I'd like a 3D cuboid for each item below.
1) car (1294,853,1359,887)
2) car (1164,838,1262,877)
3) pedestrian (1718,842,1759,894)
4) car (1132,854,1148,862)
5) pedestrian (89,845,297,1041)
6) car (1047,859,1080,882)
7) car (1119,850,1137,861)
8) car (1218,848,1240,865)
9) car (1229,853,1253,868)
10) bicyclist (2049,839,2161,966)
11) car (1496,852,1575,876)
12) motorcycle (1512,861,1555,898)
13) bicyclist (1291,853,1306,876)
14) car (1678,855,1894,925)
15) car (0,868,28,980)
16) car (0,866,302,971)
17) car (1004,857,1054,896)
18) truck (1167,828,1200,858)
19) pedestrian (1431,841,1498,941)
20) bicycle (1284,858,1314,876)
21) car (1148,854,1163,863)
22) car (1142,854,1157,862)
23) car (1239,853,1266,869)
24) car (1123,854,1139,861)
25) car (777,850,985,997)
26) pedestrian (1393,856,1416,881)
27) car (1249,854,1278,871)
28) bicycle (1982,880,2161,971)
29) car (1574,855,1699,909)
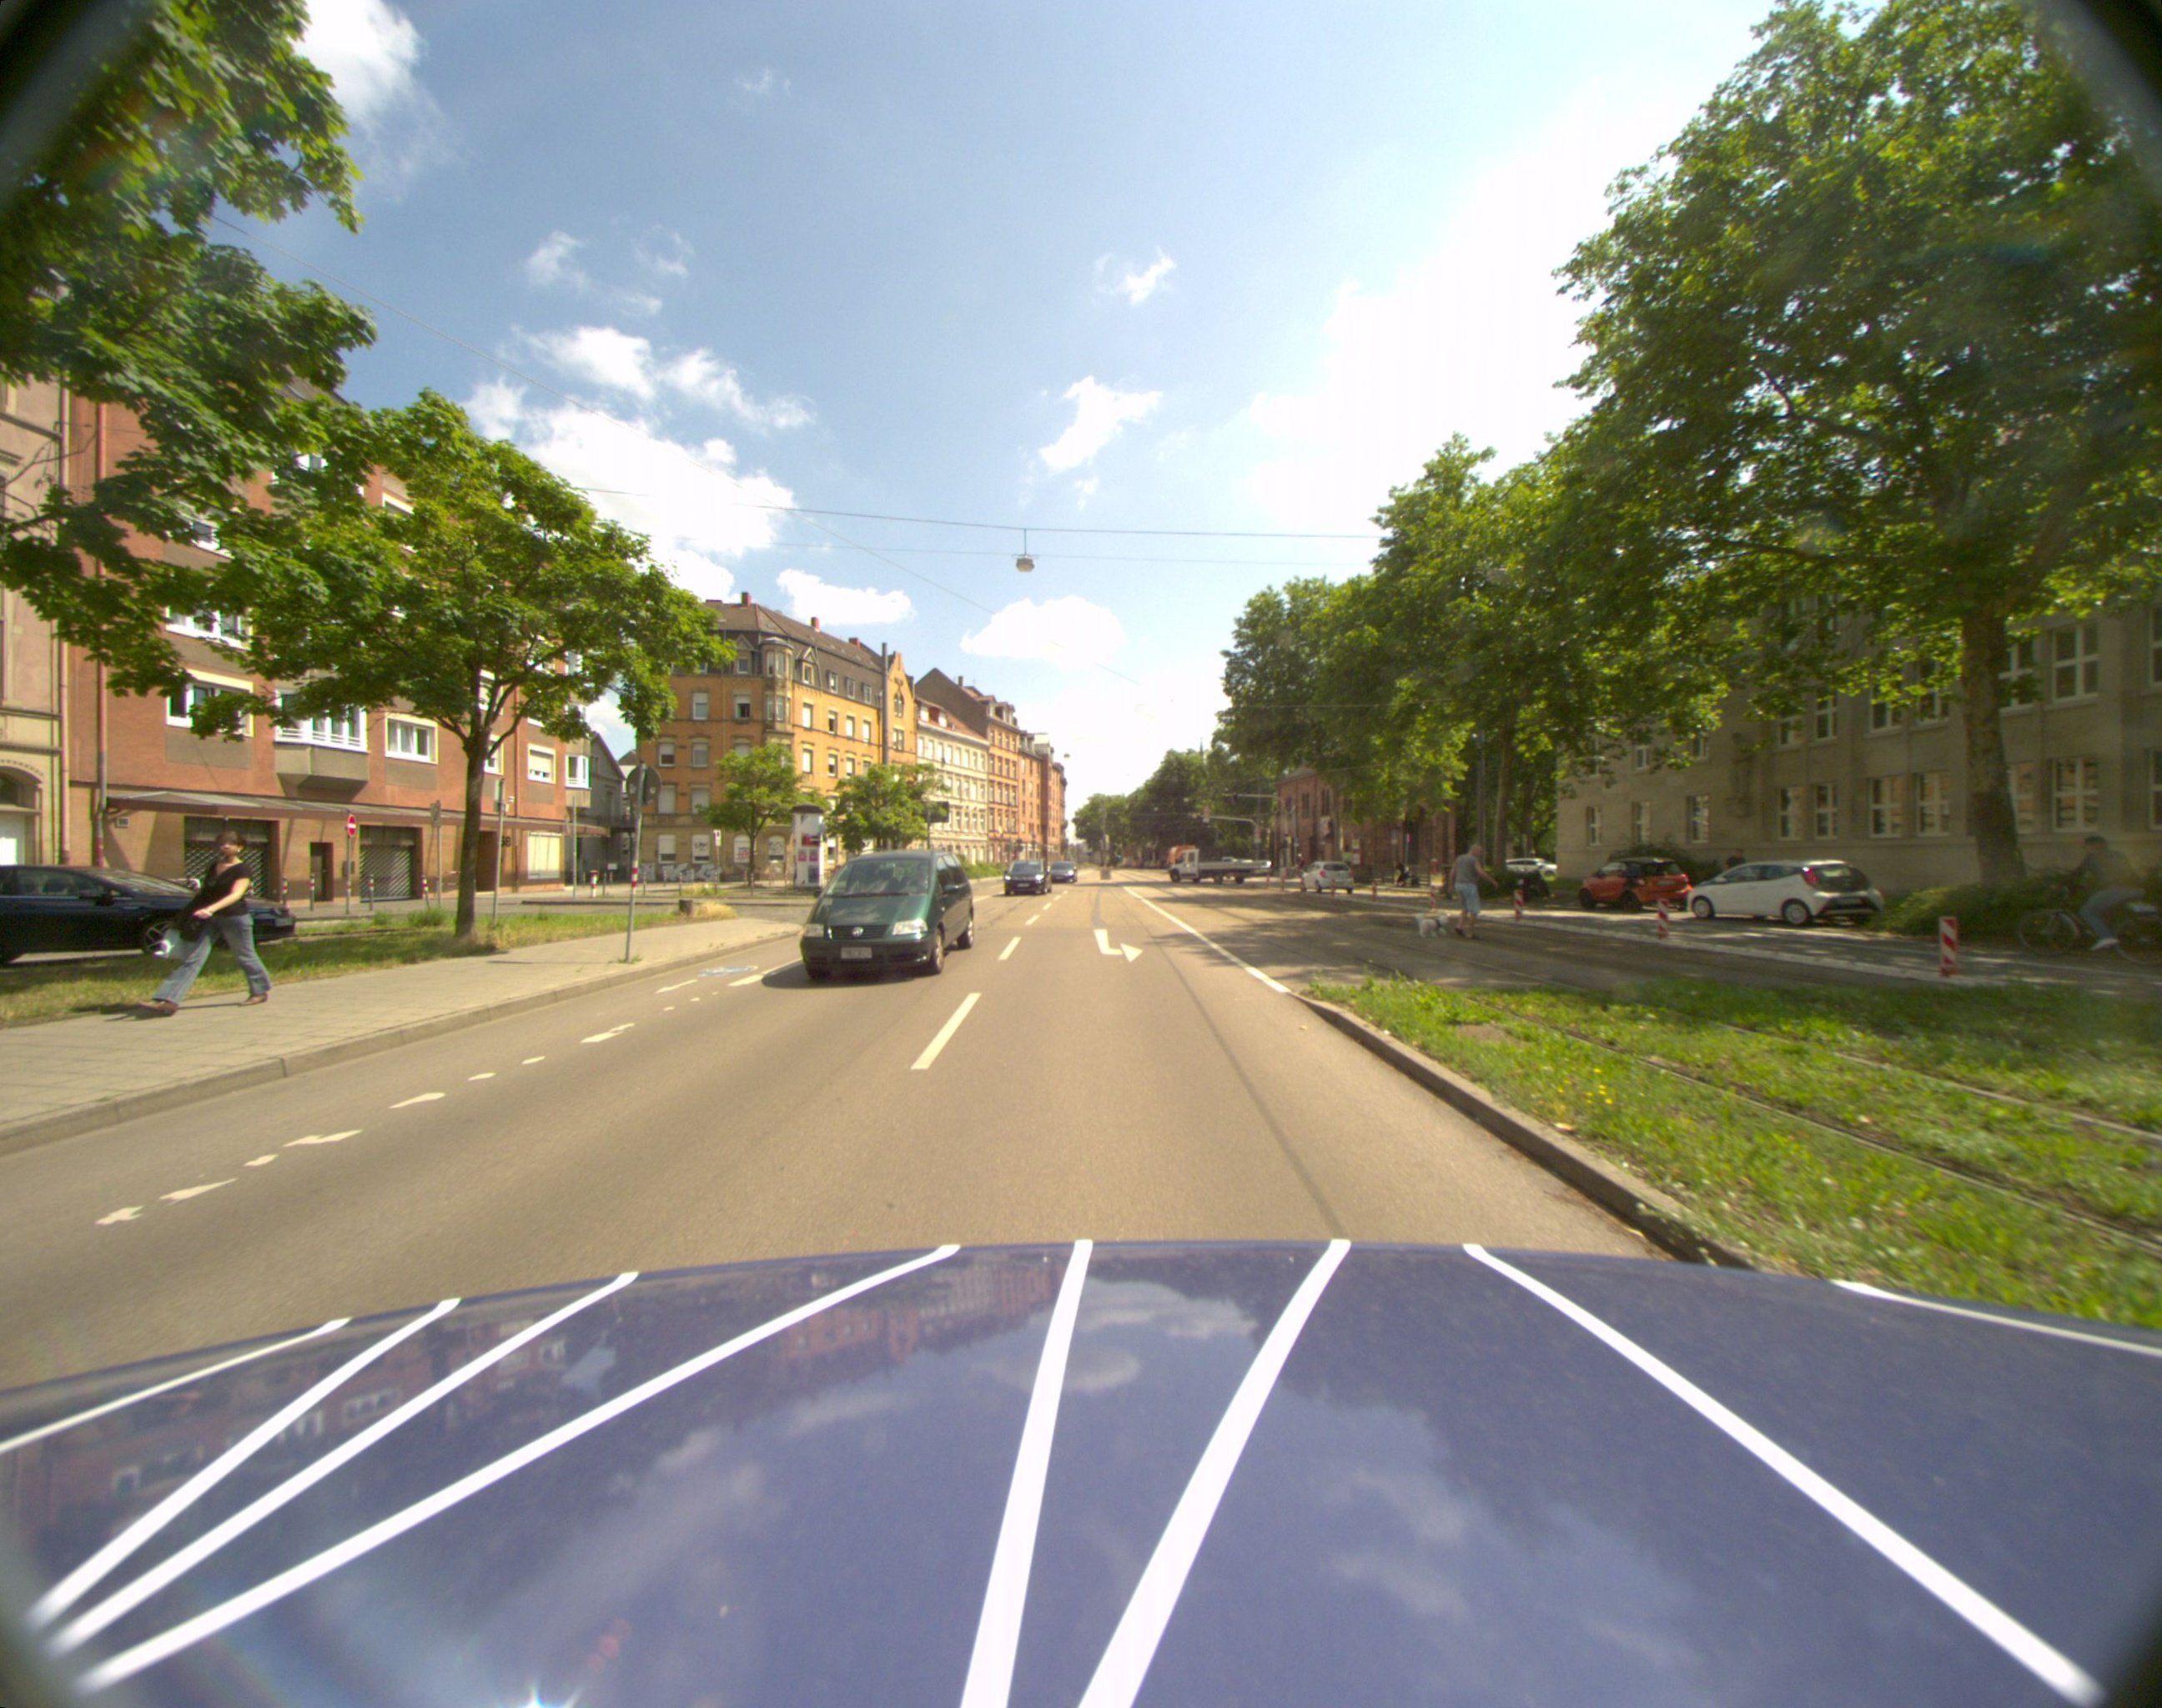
[{"bbox_3d":[11.559,0.737,36.059,1.765,1.471,3.788,2,-1,-1],"label":"car"},{"bbox_3d":[8.332,0.211,48.740,2.266,2.360,6.964,0,0,-30],"label":"car"},{"bbox_3d":[20.257,0.425,23.412,0.555,1.582,0.795,-1,1,-1],"label":"pedestrian"},{"bbox_3d":[11.282,0.678,146.315,1.763,1.488,3.994,-1,0,-16],"label":"car"},{"bbox_3d":[-8.325,0.782,7.186,0.702,1.694,1.044,2,0,-1],"label":"pedestrian"},{"bbox_3d":[-1.105,1.062,50.595,1.914,1.386,4.313,-1,1,2],"label":"car"},{"bbox_3d":[9.911,0.330,160.817,1.765,2.172,3.991,-2,1,-29],"label":"car"},{"bbox_3d":[16.740,0.306,85.960,1.761,1.825,4.000,-1,0,1],"label":"car"},{"bbox_3d":[16.729,0.696,79.640,1.761,1.488,4.000,-1,0,1],"label":"car"},{"bbox_3d":[14.460,0.650,10.667,0.763,1.694,0.783,-1,1,-6],"label":"bicyclist"},{"bbox_3d":[31.276,0.676,52.413,1.764,1.599,4.400,0,0,-30],"label":"car"},{"bbox_3d":[16.459,0.901,27.621,2.111,1.169,0.543,-4,-2,-38],"label":"motorcycle"},{"bbox_3d":[17.044,0.831,59.430,0.885,1.774,0.662,-2,1,-8],"label":"bicyclist"},{"bbox_3d":[16.352,0.777,17.880,1.751,1.445,3.491,-2,0,-2],"label":"car"},{"bbox_3d":[-14.715,0.899,7.856,4.007,1.372,1.957,-1,1,-33],"label":"car"},{"bbox_3d":[-14.742,0.908,11.240,4.004,1.346,1.958,-1,1,-22],"label":"car"},{"bbox_3d":[-2.293,0.959,34.499,1.875,1.610,4.189,-1,0,1],"label":"car"},{"bbox_3d":[11.487,-1.190,85.489,2.646,3.088,7.222,2,0,0],"label":"truck"},{"bbox_3d":[6.759,0.629,13.409,0.784,1.694,0.701,-1,1,-17],"label":"pedestrian"},{"bbox_3d":[17.056,1.001,59.430,2.088,1.282,0.671,-3,1,-7],"label":"bicycle"},{"bbox_3d":[13.256,0.763,134.980,1.762,1.488,3.996,-1,0,-9],"label":"car"},{"bbox_3d":[12.631,0.757,139.390,1.762,1.488,3.996,-1,0,-10],"label":"car"},{"bbox_3d":[16.921,0.716,75.059,1.761,1.488,4.000,-1,0,1],"label":"car"},{"bbox_3d":[9.963,0.704,150.882,1.764,1.488,3.993,-1,0,-18],"label":"car"},{"bbox_3d":[-2.765,0.844,11.841,1.823,1.746,5.031,-1,1,1],"label":"car"},{"bbox_3d":[16.630,0.723,39.091,0.757,1.205,0.913,-5,1,2],"label":"pedestrian"},{"bbox_3d":[16.905,0.741,70.467,1.761,1.488,4.000,-1,0,1],"label":"car"},{"bbox_3d":[14.479,0.971,10.689,0.793,1.103,2.275,-1,0,-5],"label":"bicycle"},{"bbox_3d":[16.276,0.796,22.434,1.490,1.445,2.882,-2,0,-2],"label":"car"}]
